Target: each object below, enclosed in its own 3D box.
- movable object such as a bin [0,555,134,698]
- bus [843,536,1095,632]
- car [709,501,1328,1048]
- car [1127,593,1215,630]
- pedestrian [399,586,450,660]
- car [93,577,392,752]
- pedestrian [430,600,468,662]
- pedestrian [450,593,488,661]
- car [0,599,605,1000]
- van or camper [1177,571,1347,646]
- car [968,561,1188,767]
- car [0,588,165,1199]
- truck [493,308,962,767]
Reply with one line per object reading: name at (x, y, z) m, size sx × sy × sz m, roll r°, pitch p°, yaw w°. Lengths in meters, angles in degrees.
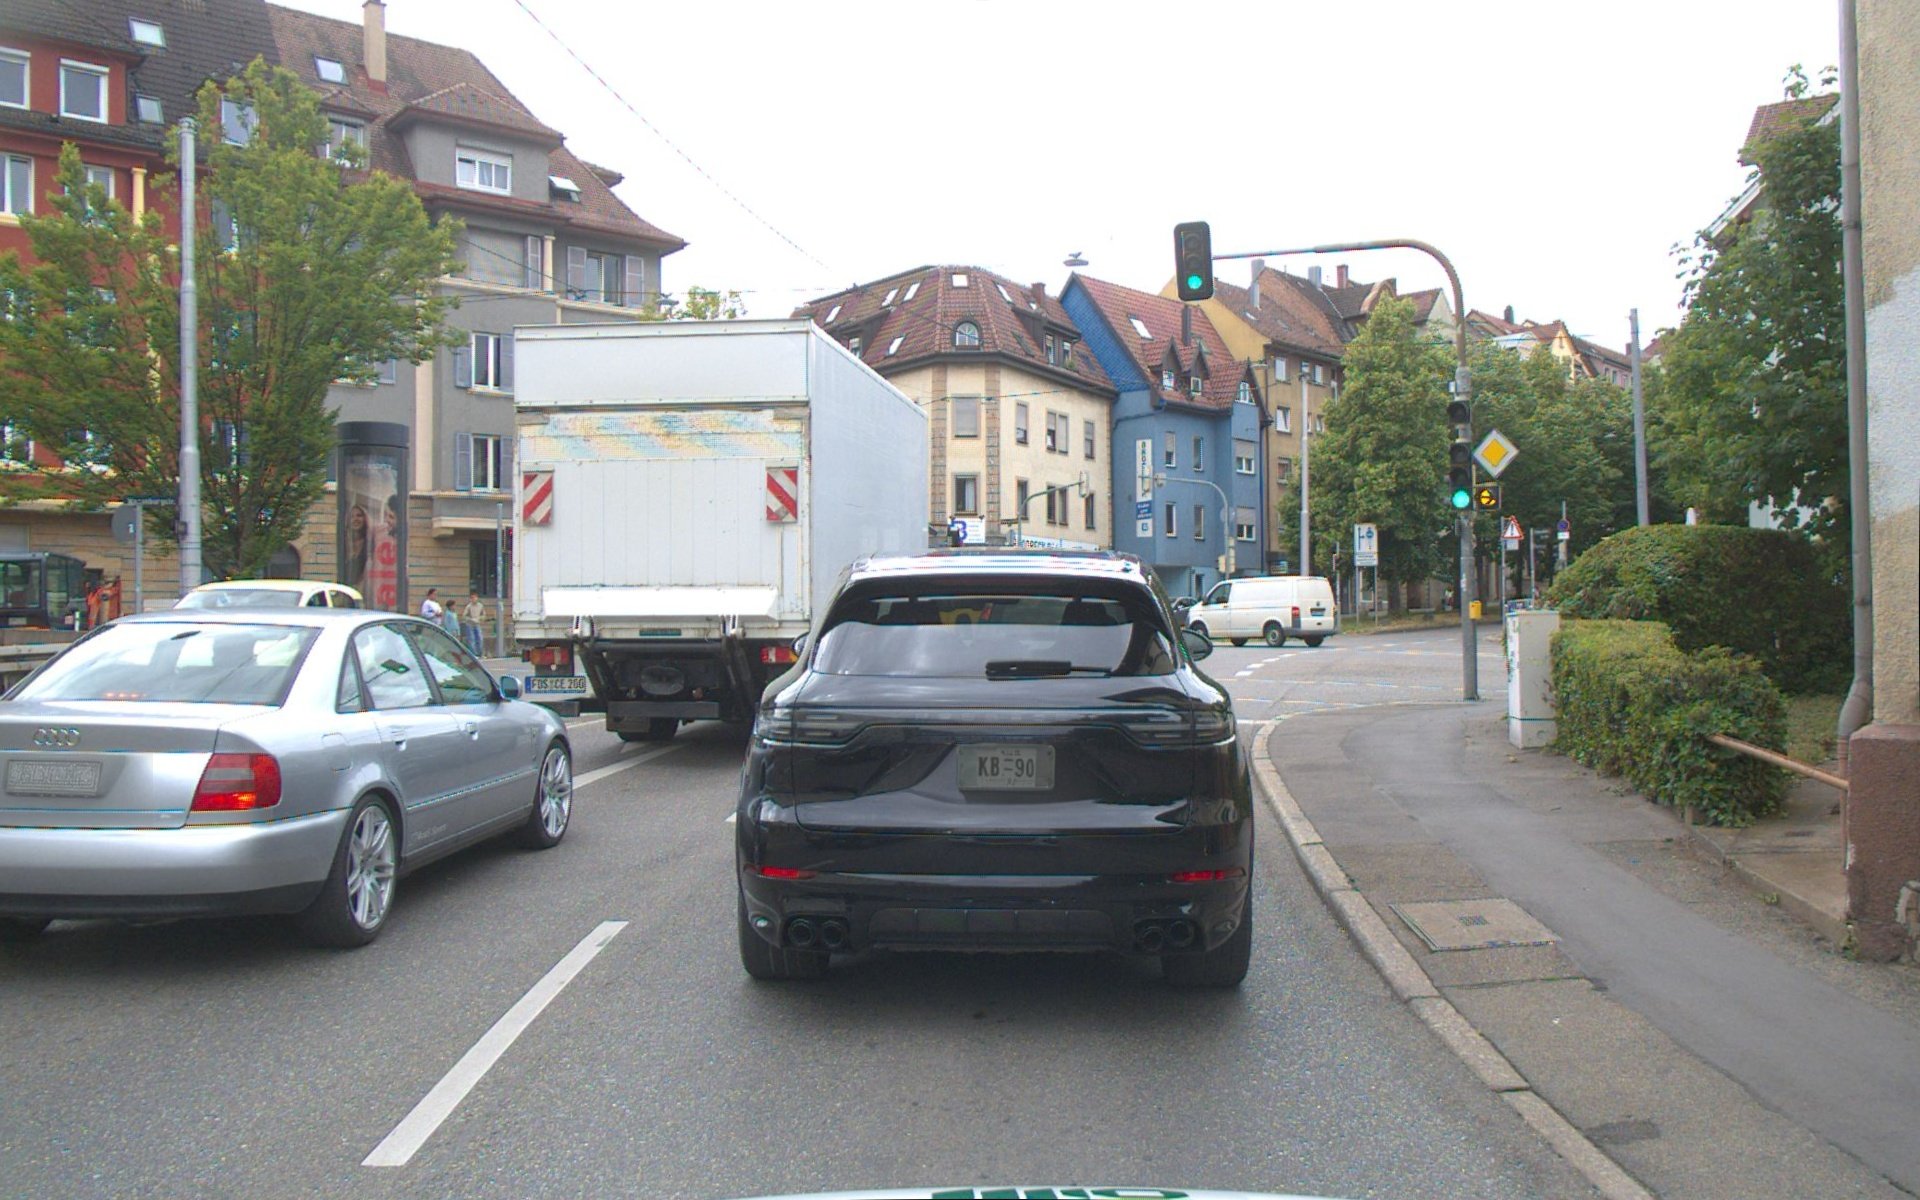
movable object such as a bin at (-13.951, 0.380, 25.469) m, size 1.351 × 2.049 × 3.525 m, roll -1°, pitch 0°, yaw -12°
bus at (0.015, -0.439, 60.331) m, size 3.128 × 3.150 × 12.011 m, roll -1°, pitch -1°, yaw -33°
car at (0.163, 0.551, 7.635) m, size 1.990 × 1.753 × 4.499 m, roll 1°, pitch 1°, yaw -1°
car at (9.113, 0.470, 71.214) m, size 1.691 × 1.502 × 4.194 m, roll 1°, pitch 1°, yaw 41°
pedestrian at (-11.669, 0.489, 36.057) m, size 0.777 × 1.573 × 0.737 m, roll 1°, pitch 0°, yaw 27°
car at (-7.081, 0.583, 16.684) m, size 1.565 × 1.544 × 3.458 m, roll -1°, pitch 0°, yaw -2°
pedestrian at (-11.354, 0.674, 36.750) m, size 0.563 × 1.361 × 0.583 m, roll 1°, pitch 0°, yaw 28°
pedestrian at (-11.071, 0.596, 37.327) m, size 0.512 × 1.513 × 0.653 m, roll 0°, pitch 0°, yaw 25°
car at (-3.097, 0.715, 7.951) m, size 1.594 × 1.389 × 4.130 m, roll -1°, pitch 0°, yaw 4°
van or camper at (8.671, 0.228, 47.855) m, size 1.979 × 2.049 × 4.766 m, roll 1°, pitch 0°, yaw -37°
car at (1.162, 0.511, 14.775) m, size 1.613 × 1.583 × 3.586 m, roll 1°, pitch 0°, yaw 9°
car at (-2.697, 0.710, 1.200) m, size 1.953 × 1.454 × 4.841 m, roll 0°, pitch 0°, yaw -1°
truck at (-1.864, -0.532, 17.323) m, size 2.667 × 3.606 × 8.428 m, roll 1°, pitch 0°, yaw 7°
